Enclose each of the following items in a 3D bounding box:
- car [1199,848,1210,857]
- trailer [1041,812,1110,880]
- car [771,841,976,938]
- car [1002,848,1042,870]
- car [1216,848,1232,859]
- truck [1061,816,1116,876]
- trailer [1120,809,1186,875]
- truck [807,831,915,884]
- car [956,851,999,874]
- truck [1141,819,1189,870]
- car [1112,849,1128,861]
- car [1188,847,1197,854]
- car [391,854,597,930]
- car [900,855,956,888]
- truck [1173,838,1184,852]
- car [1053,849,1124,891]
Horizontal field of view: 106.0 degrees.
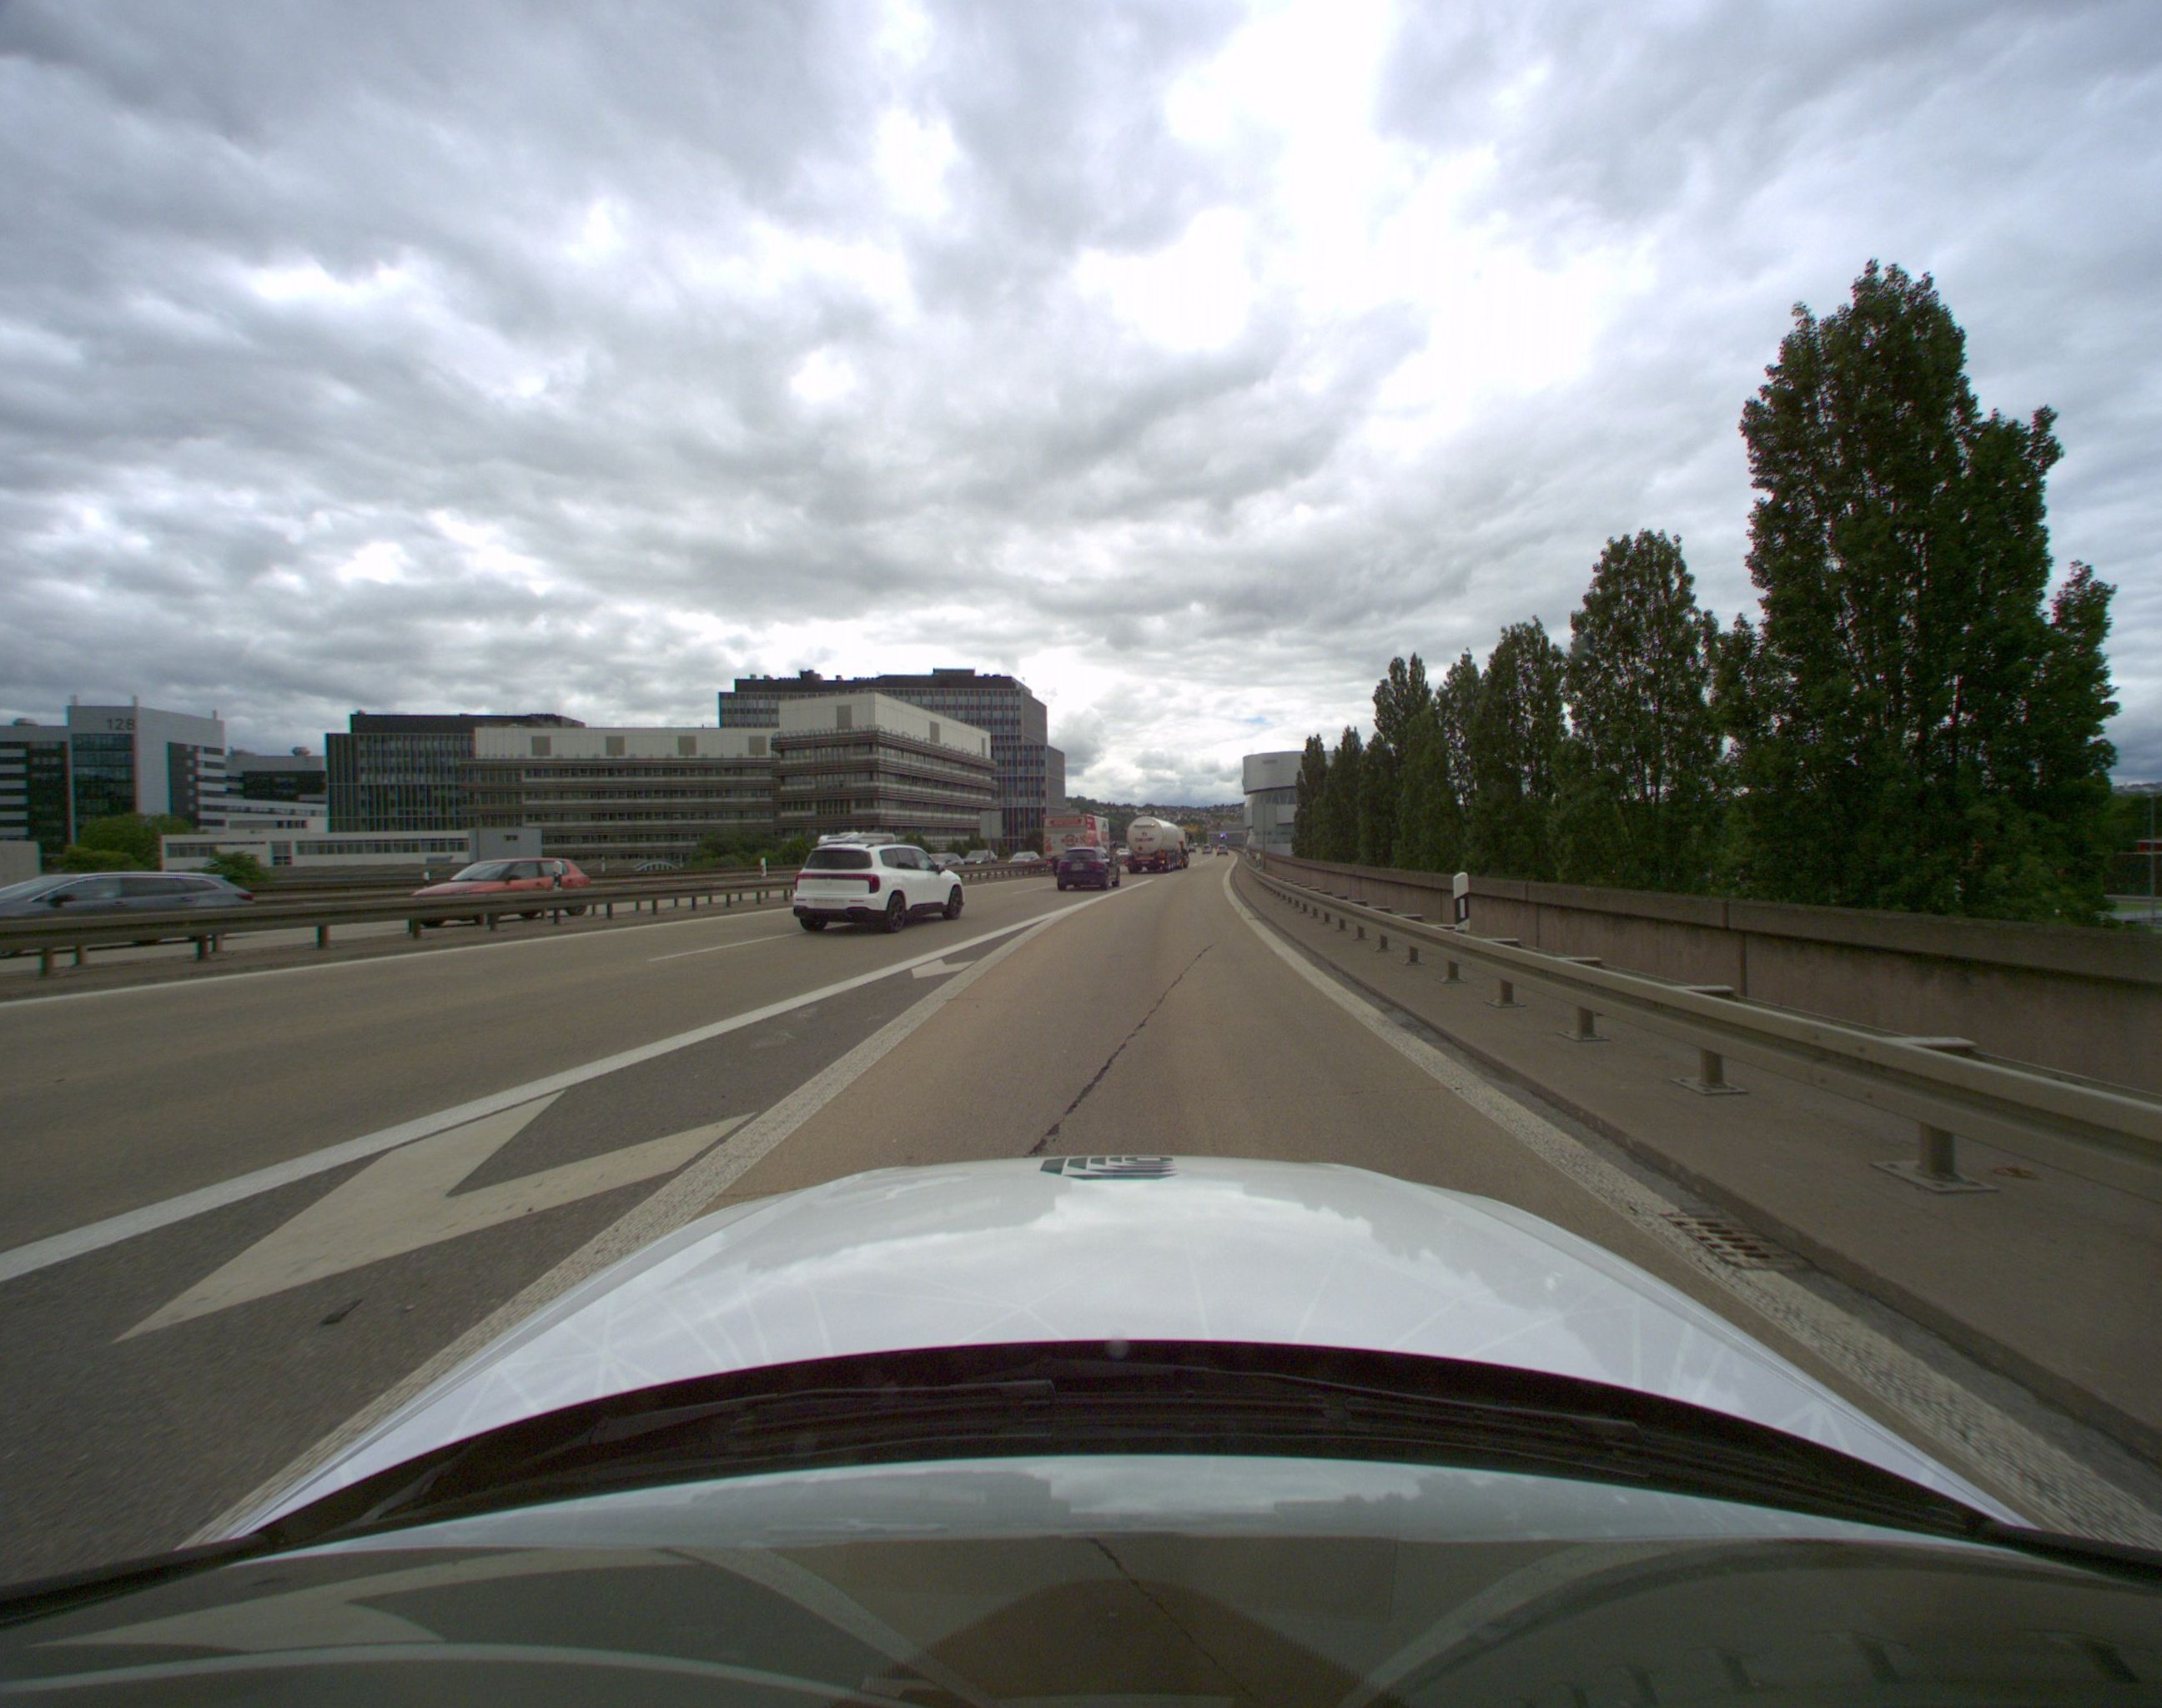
[{"bbox_3d":[24.170,-0.313,159.397,1.983,1.538,4.008,4,0,8],"label":"car"},{"bbox_3d":[-0.204,-0.477,49.646,2.673,3.690,7.335,-3,0,10],"label":"trailer"},{"bbox_3d":[-4.000,0.607,16.738,1.979,1.668,4.910,1,0,14],"label":"car"},{"bbox_3d":[-4.620,0.370,64.742,1.980,1.636,4.468,-3,0,11],"label":"car"},{"bbox_3d":[23.154,-0.133,131.829,1.978,1.538,4.019,4,0,19],"label":"car"},{"bbox_3d":[0.565,-0.527,53.761,2.674,3.690,4.453,-3,0,11],"label":"truck"},{"bbox_3d":[4.912,-0.767,53.494,2.773,3.737,11.193,-3,0,12],"label":"trailer"},{"bbox_3d":[-12.094,0.134,45.534,2.473,2.626,7.375,-3,0,13],"label":"truck"},{"bbox_3d":[-8.273,0.647,65.734,1.980,1.636,4.646,-3,0,11],"label":"car"},{"bbox_3d":[6.277,-0.712,59.827,2.751,3.430,5.985,-3,0,12],"label":"truck"},{"bbox_3d":[5.719,0.160,119.305,1.738,1.560,4.011,-3,0,10],"label":"car"},{"bbox_3d":[26.118,-0.802,190.888,1.982,1.538,4.008,-1,-1,7],"label":"car"},{"bbox_3d":[-13.584,0.816,19.114,1.683,1.551,3.655,-3,-1,13],"label":"car"},{"bbox_3d":[-8.264,0.922,44.272,1.634,1.585,3.731,-3,0,11],"label":"car"},{"bbox_3d":[26.572,-2.455,222.347,2.379,3.893,5.961,-3,0,11],"label":"truck"},{"bbox_3d":[0.379,0.575,31.497,1.834,1.505,4.280,0,0,13],"label":"car"}]
